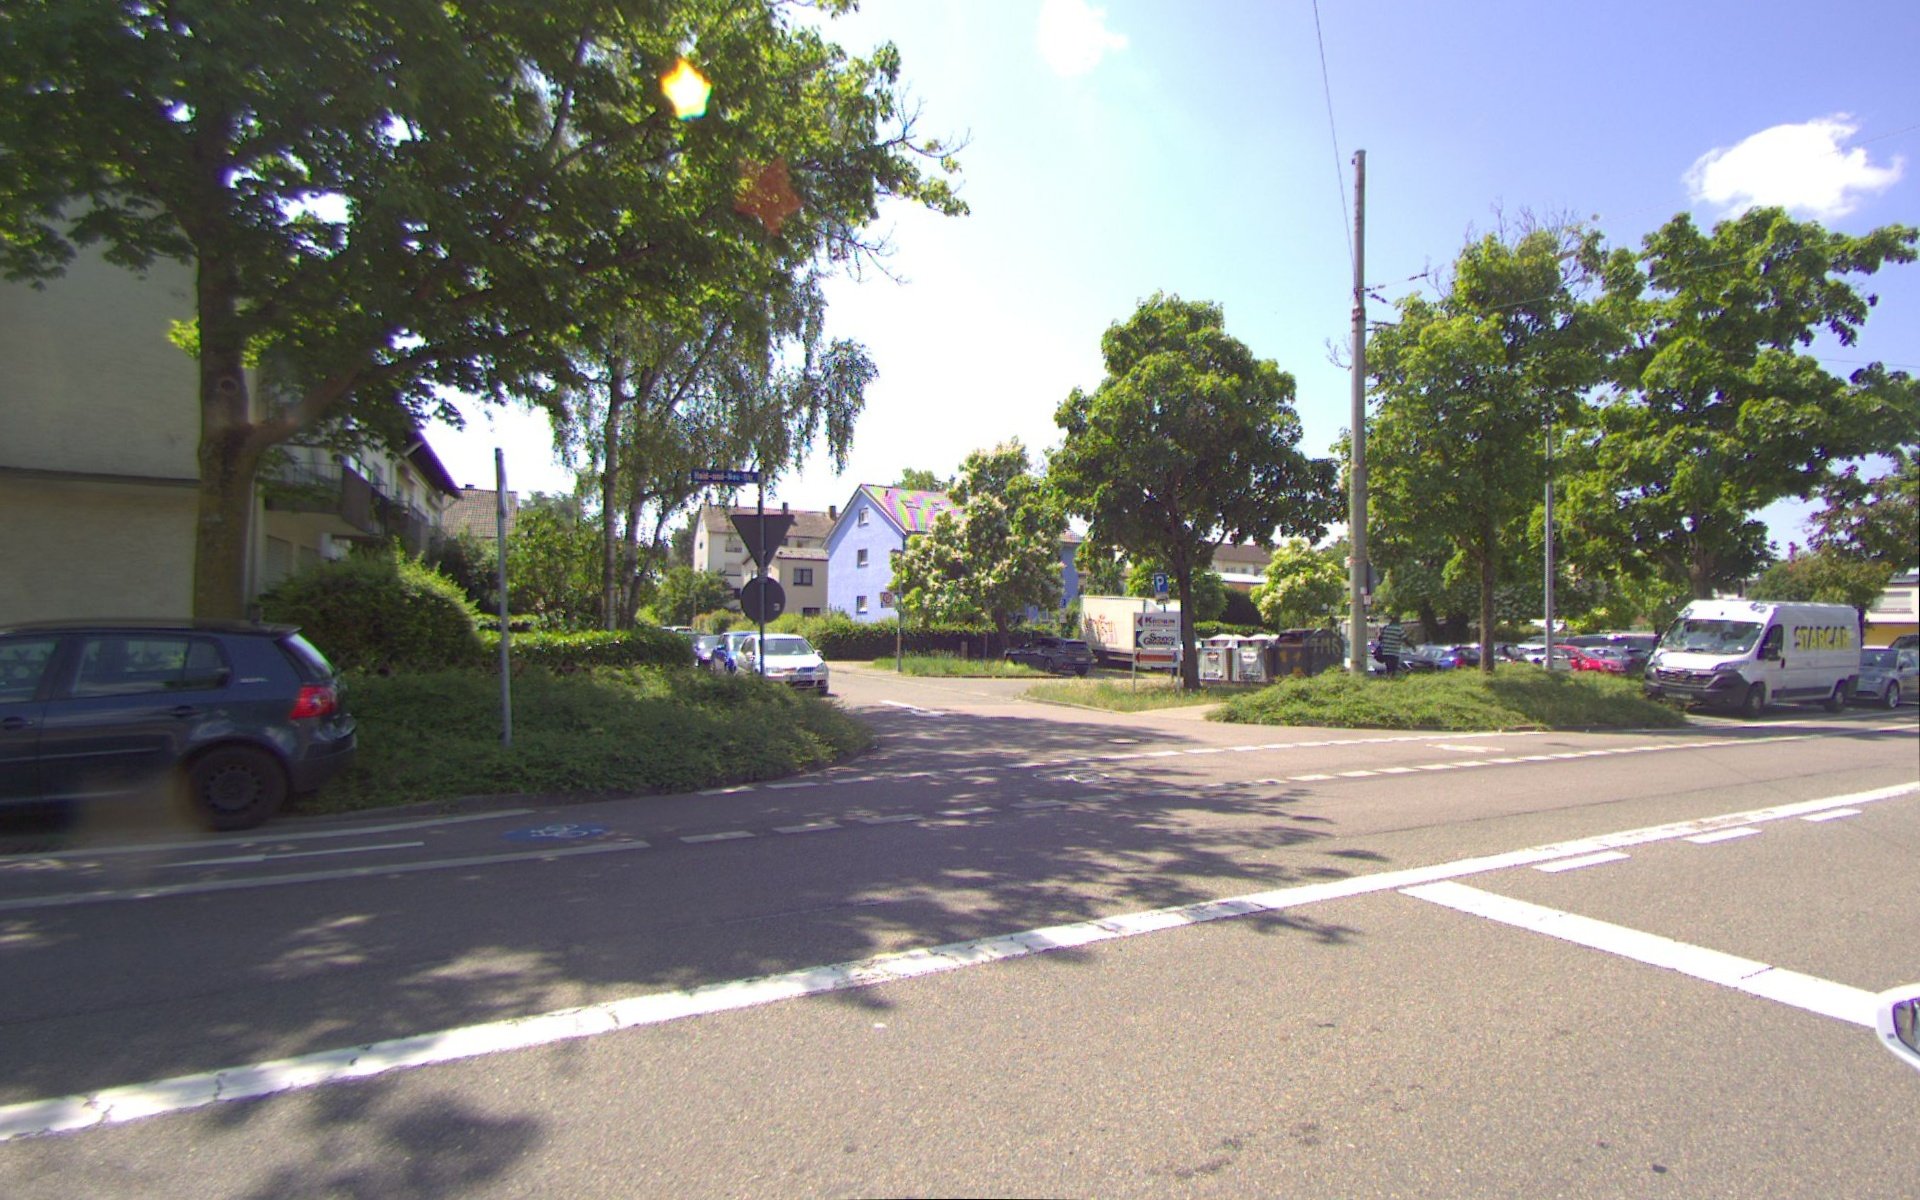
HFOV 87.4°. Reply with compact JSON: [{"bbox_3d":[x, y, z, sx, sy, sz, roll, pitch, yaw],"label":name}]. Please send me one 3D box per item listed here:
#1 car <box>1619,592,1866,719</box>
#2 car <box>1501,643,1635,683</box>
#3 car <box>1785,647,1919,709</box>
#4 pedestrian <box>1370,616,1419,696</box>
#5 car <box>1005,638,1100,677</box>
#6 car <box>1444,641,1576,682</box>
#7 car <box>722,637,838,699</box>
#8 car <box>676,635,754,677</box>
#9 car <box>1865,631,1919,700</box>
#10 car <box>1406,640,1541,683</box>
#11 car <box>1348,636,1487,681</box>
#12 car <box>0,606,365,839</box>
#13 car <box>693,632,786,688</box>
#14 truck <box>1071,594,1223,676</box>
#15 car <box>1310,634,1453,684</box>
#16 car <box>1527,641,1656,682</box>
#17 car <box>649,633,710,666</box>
[{"bbox_3d":[17.976,1.218,23.003,6.117,2.520,2.147,2,1,-29],"label":"car"},{"bbox_3d":[22.881,2.345,37.928,1.785,1.357,3.966,2,-2,-31],"label":"car"},{"bbox_3d":[23.427,1.966,26.004,4.292,1.456,1.860,2,-2,-31],"label":"car"},{"bbox_3d":[10.252,1.304,23.698,0.960,1.847,0.793,0,-2,31],"label":"pedestrian"},{"bbox_3d":[3.631,2.255,40.016,1.753,1.417,3.966,2,-2,-32],"label":"car"},{"bbox_3d":[20.322,2.240,37.237,1.785,1.357,3.966,2,-2,-31],"label":"car"},{"bbox_3d":[-4.586,1.643,25.177,1.788,1.376,3.973,2,-2,-27],"label":"car"},{"bbox_3d":[-8.600,1.919,35.047,1.788,1.334,3.973,2,-2,-27],"label":"car"},{"bbox_3d":[28.656,1.921,29.545,4.221,1.920,1.860,2,-2,-31],"label":"car"},{"bbox_3d":[18.177,2.150,35.740,1.785,1.357,3.966,2,-2,-31],"label":"car"},{"bbox_3d":[15.328,1.929,33.841,1.785,1.357,3.966,2,-2,-31],"label":"car"},{"bbox_3d":[-6.775,0.828,7.476,4.002,1.500,1.765,2,0,-31],"label":"car"},{"bbox_3d":[-6.683,1.749,30.187,1.788,1.536,3.973,2,-2,-27],"label":"car"},{"bbox_3d":[7.992,1.511,43.971,2.307,3.270,7.147,2,-2,-32],"label":"truck"},{"bbox_3d":[13.471,1.854,32.305,1.785,1.461,3.966,2,-2,-31],"label":"car"},{"bbox_3d":[24.821,2.385,39.607,1.785,1.461,3.967,2,-2,-31],"label":"car"},{"bbox_3d":[-12.126,2.121,43.322,1.788,1.334,3.973,2,-2,-27],"label":"car"}]
